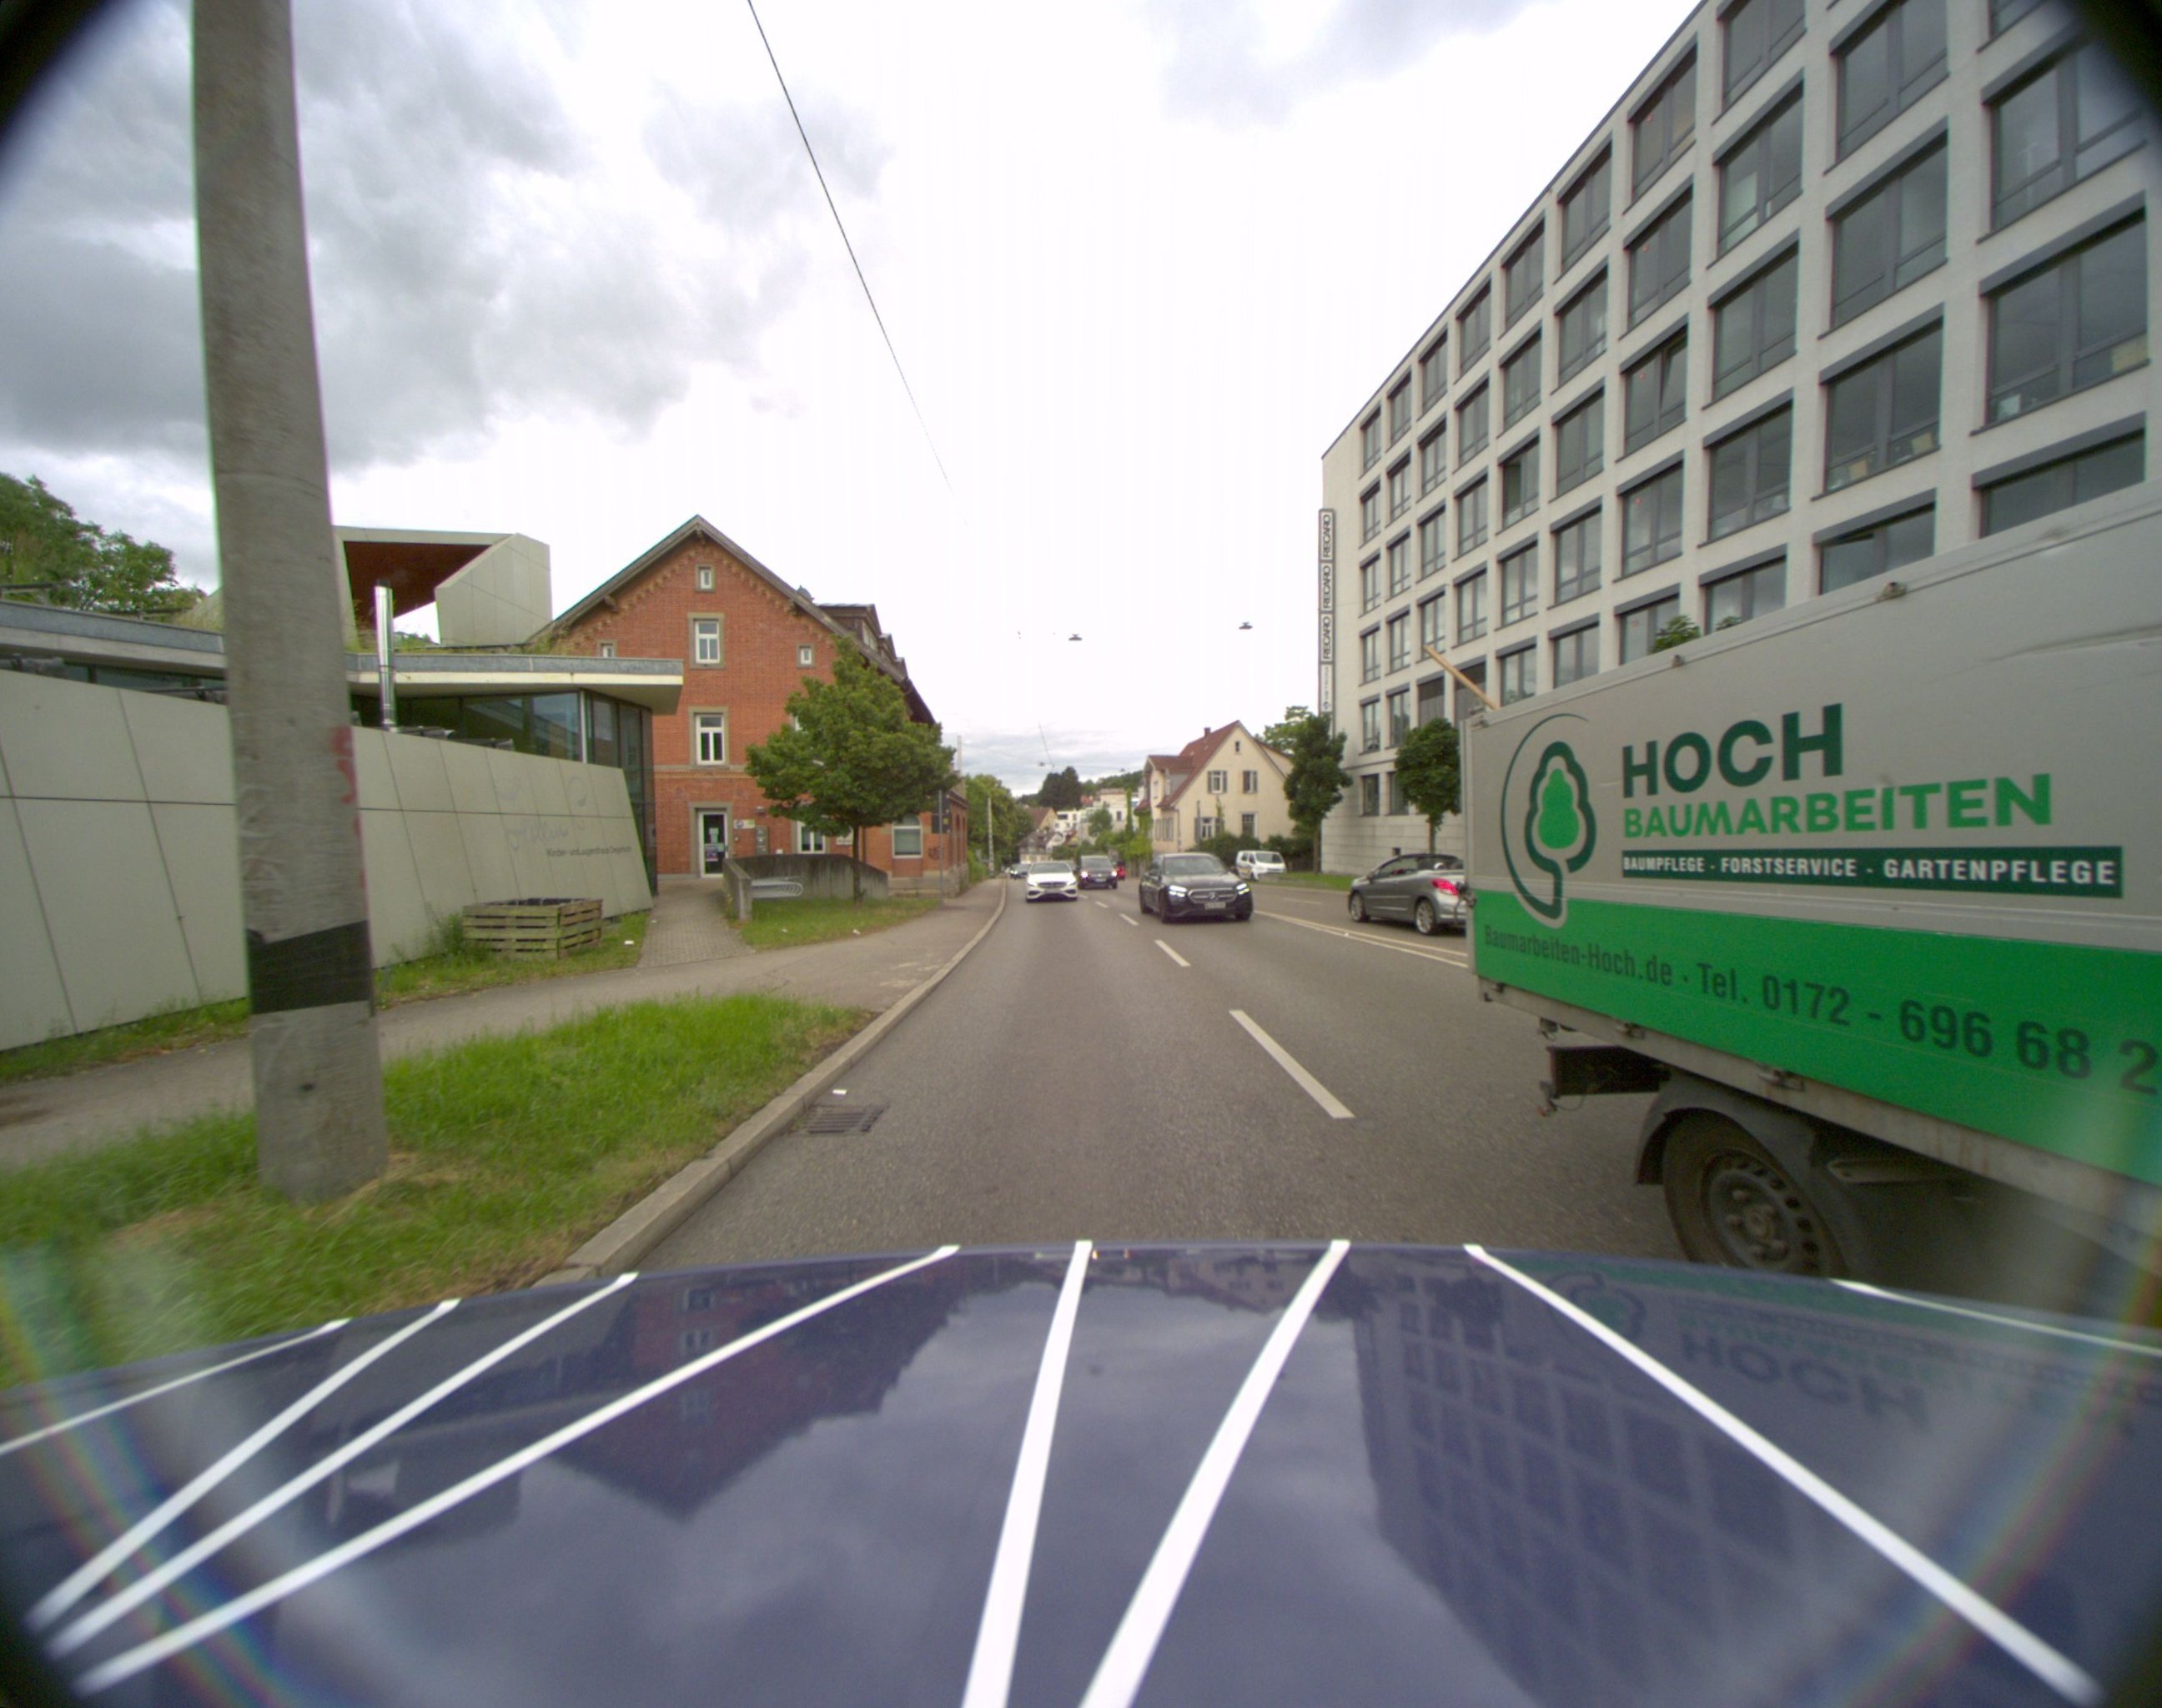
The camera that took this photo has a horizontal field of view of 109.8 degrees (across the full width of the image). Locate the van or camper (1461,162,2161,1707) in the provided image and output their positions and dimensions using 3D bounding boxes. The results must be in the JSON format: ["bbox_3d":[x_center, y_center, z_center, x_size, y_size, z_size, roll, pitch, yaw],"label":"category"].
[{"bbox_3d":[2.911,0.224,0.348,2.349,2.647,5.963,-2,1,-1],"label":"van or camper"}]

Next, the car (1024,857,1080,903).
[{"bbox_3d":[-1.135,0.911,27.675,1.810,1.521,3.999,-1,-1,-5],"label":"car"}]

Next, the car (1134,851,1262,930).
[{"bbox_3d":[2.502,0.769,17.403,1.879,1.521,4.334,-2,-1,-5],"label":"car"}]

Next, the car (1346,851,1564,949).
[{"bbox_3d":[6.354,0.701,13.474,1.782,1.472,3.979,0,0,-2],"label":"car"}]

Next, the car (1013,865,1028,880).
[{"bbox_3d":[-7.926,2.394,99.244,1.713,1.680,3.790,-1,1,-7],"label":"car"}]

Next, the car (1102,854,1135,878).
[{"bbox_3d":[2.792,0.876,57.664,1.875,1.692,4.427,1,0,-5],"label":"car"}]

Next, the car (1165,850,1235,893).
[{"bbox_3d":[4.642,0.676,30.223,1.775,1.561,4.283,1,0,-4],"label":"car"}]

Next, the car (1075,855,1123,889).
[{"bbox_3d":[0.832,0.873,37.464,1.879,1.521,3.999,-2,-1,-5],"label":"car"}]

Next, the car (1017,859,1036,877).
[{"bbox_3d":[-5.424,1.365,75.363,1.713,1.680,3.790,-1,1,-7],"label":"car"}]

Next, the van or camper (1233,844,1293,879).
[{"bbox_3d":[10.789,0.473,45.489,2.066,1.956,4.871,-1,-1,-5],"label":"van or camper"}]

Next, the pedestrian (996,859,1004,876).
[{"bbox_3d":[-9.082,1.471,84.904,0.814,1.873,0.948,0,-1,-1],"label":"pedestrian"}]

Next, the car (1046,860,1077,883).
[{"bbox_3d":[-1.383,1.212,52.906,1.879,1.521,3.999,-2,-1,-5],"label":"car"}]
